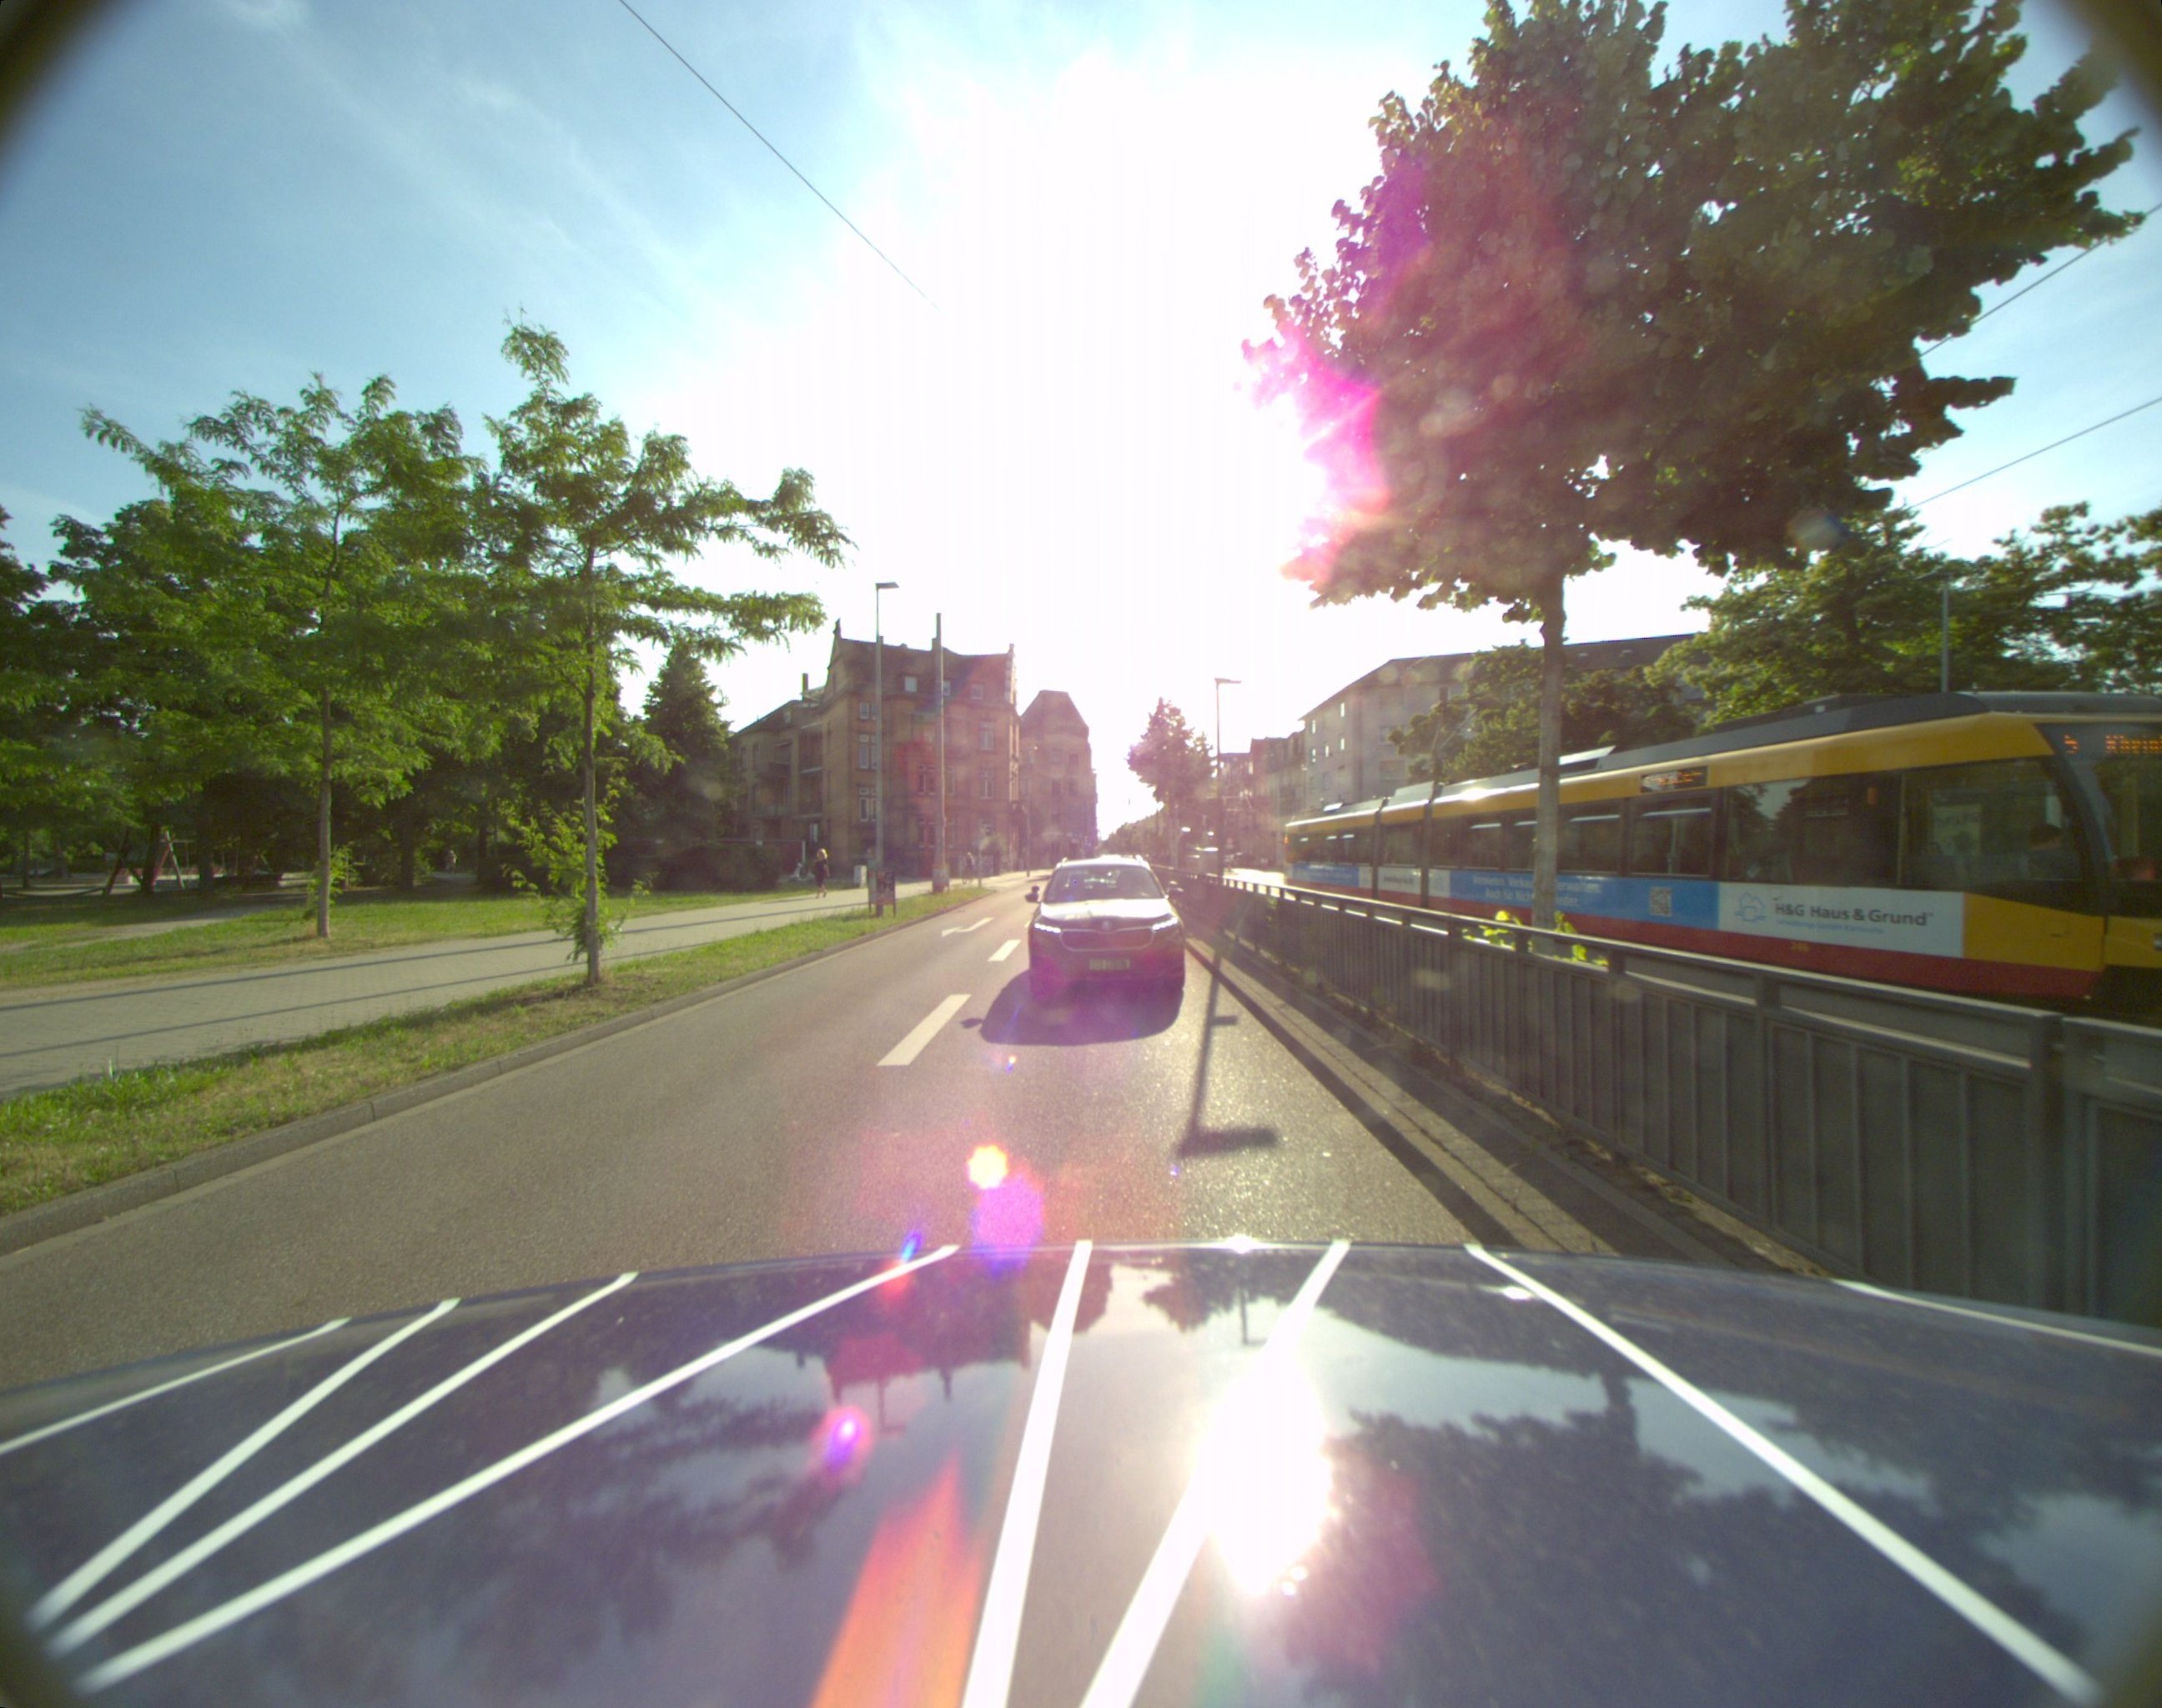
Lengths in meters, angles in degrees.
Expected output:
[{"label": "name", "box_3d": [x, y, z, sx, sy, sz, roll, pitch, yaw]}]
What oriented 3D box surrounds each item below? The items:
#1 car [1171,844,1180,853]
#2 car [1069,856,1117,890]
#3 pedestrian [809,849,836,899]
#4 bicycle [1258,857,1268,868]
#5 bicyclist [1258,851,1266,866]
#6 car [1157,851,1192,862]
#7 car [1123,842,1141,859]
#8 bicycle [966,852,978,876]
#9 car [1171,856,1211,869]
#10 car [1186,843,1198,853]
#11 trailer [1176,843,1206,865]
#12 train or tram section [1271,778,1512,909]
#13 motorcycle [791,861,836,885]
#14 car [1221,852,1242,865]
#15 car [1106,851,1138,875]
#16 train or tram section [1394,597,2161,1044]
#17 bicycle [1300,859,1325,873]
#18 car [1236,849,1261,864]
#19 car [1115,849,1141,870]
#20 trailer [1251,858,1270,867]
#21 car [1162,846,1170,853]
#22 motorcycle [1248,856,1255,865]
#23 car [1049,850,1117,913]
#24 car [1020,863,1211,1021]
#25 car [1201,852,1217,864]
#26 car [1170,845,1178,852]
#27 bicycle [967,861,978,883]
[{"label": "car", "box_3d": [23.413, -1.334, 188.979, 1.998, 2.002, 4.001, -1, 0, 5]}, {"label": "car", "box_3d": [0.649, 0.904, 37.848, 1.997, 1.565, 4.002, -1, 0, 6]}, {"label": "pedestrian", "box_3d": [-8.977, 0.697, 26.394, 0.616, 1.682, 0.549, 5, 1, 5]}, {"label": "bicycle", "box_3d": [17.720, 0.810, 74.015, 0.543, 1.012, 2.251, -1, 0, 5]}, {"label": "bicyclist", "box_3d": [17.688, 0.446, 74.343, 0.652, 1.405, 0.717, -1, 0, 4]}, {"label": "car", "box_3d": [12.768, 0.401, 103.881, 4.294, 1.414, 1.963, -1, 0, 43]}, {"label": "car", "box_3d": [6.220, -0.447, 92.360, 1.998, 2.002, 4.000, 0, 1, 1]}, {"label": "bicycle", "box_3d": [-5.961, 0.540, 41.662, 0.575, 1.290, 0.688, -1, 0, -3]}, {"label": "car", "box_3d": [11.966, 0.907, 82.900, 3.941, 1.352, 1.676, 0, 1, 38]}, {"label": "car", "box_3d": [23.024, -1.248, 158.023, 1.998, 2.002, 4.000, -1, 0, 2]}, {"label": "trailer", "box_3d": [12.416, 0.026, 85.881, 2.858, 2.378, 1.726, -1, 0, 33]}, {"label": "train or tram section", "box_3d": [10.146, -0.276, 27.639, 3.169, 3.459, 14.534, -1, 0, 2]}, {"label": "motorcycle", "box_3d": [-13.559, 0.969, 38.581, 2.002, 1.153, 0.708, -1, 0, -4]}, {"label": "car", "box_3d": [20.466, 0.567, 103.302, 2.170, 1.739, 4.611, -1, 0, 4]}, {"label": "car", "box_3d": [2.882, 0.611, 52.698, 1.997, 1.565, 4.002, -1, 0, 6]}, {"label": "train or tram section", "box_3d": [9.770, -0.280, 13.087, 3.169, 3.459, 14.473, -1, 0, 2]}, {"label": "bicycle", "box_3d": [18.956, 1.000, 62.320, 1.912, 1.104, 0.736, 0, 1, 22]}, {"label": "car", "box_3d": [20.097, 0.340, 91.362, 2.170, 1.739, 4.719, -1, 0, 4]}, {"label": "car", "box_3d": [3.988, 0.419, 65.371, 1.998, 1.772, 4.000, 0, 0, 1]}, {"label": "trailer", "box_3d": [20.017, 0.951, 84.831, 1.444, 0.891, 2.880, -5, 0, 2]}, {"label": "car", "box_3d": [23.749, -1.172, 212.803, 1.998, 2.002, 4.000, -1, 0, 1]}, {"label": "motorcycle", "box_3d": [19.624, 0.753, 87.514, 0.637, 1.074, 1.734, -1, 0, 6]}, {"label": "car", "box_3d": [0.097, 0.816, 24.450, 1.998, 1.827, 4.000, -1, 0, 1]}, {"label": "car", "box_3d": [0.452, 0.872, 9.332, 1.839, 1.472, 4.001, 0, 0, 3]}, {"label": "car", "box_3d": [20.977, 0.620, 124.536, 2.170, 1.890, 4.611, -1, 0, 4]}, {"label": "car", "box_3d": [24.465, -1.437, 200.144, 1.998, 2.002, 4.001, -1, 0, 5]}, {"label": "bicycle", "box_3d": [-5.959, 0.977, 41.714, 0.484, 1.183, 1.339, -1, 0, -4]}]
